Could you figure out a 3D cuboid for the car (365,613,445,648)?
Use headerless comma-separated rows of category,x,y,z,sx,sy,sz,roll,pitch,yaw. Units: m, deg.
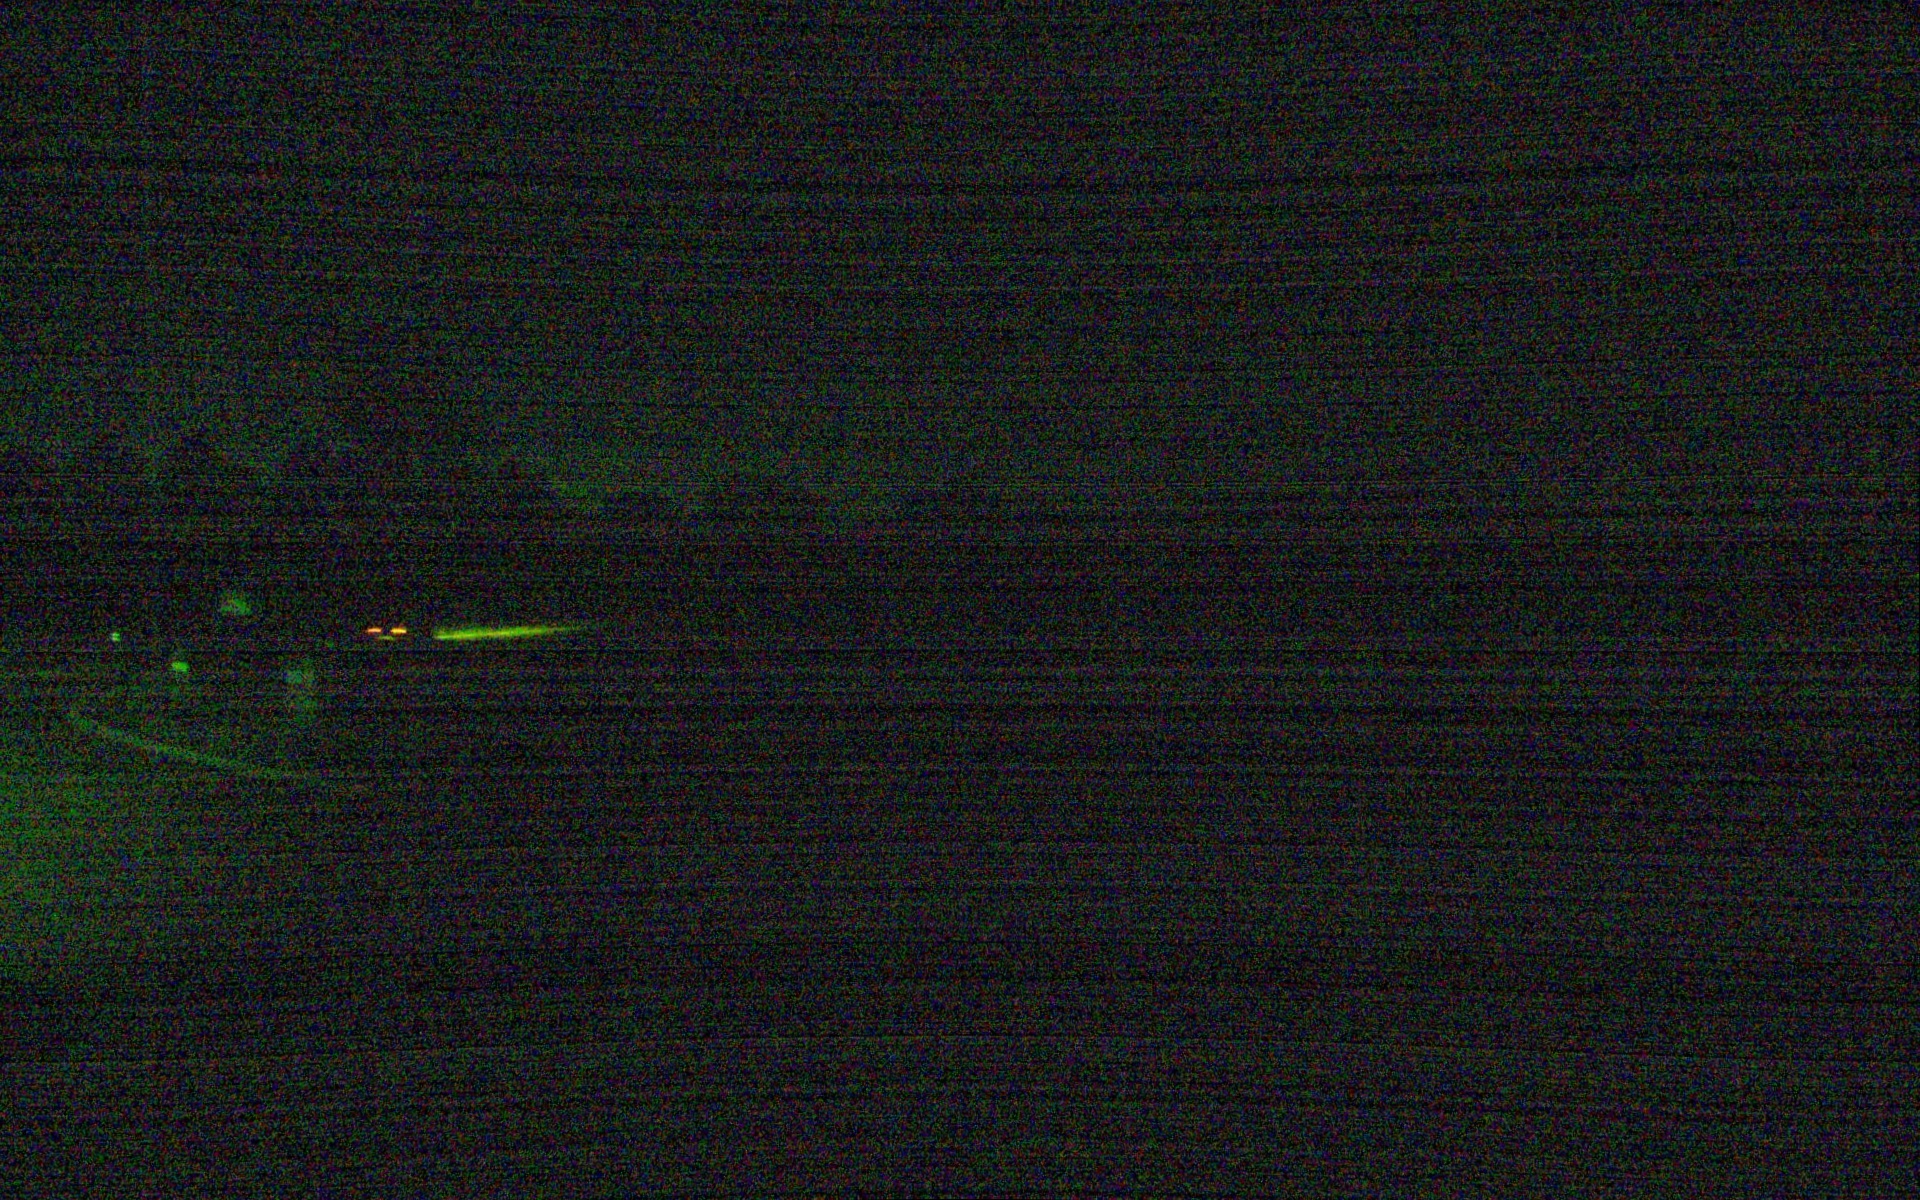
car,-30.641,1.653,55.418,1.900,1.839,4.264,0,0,2
